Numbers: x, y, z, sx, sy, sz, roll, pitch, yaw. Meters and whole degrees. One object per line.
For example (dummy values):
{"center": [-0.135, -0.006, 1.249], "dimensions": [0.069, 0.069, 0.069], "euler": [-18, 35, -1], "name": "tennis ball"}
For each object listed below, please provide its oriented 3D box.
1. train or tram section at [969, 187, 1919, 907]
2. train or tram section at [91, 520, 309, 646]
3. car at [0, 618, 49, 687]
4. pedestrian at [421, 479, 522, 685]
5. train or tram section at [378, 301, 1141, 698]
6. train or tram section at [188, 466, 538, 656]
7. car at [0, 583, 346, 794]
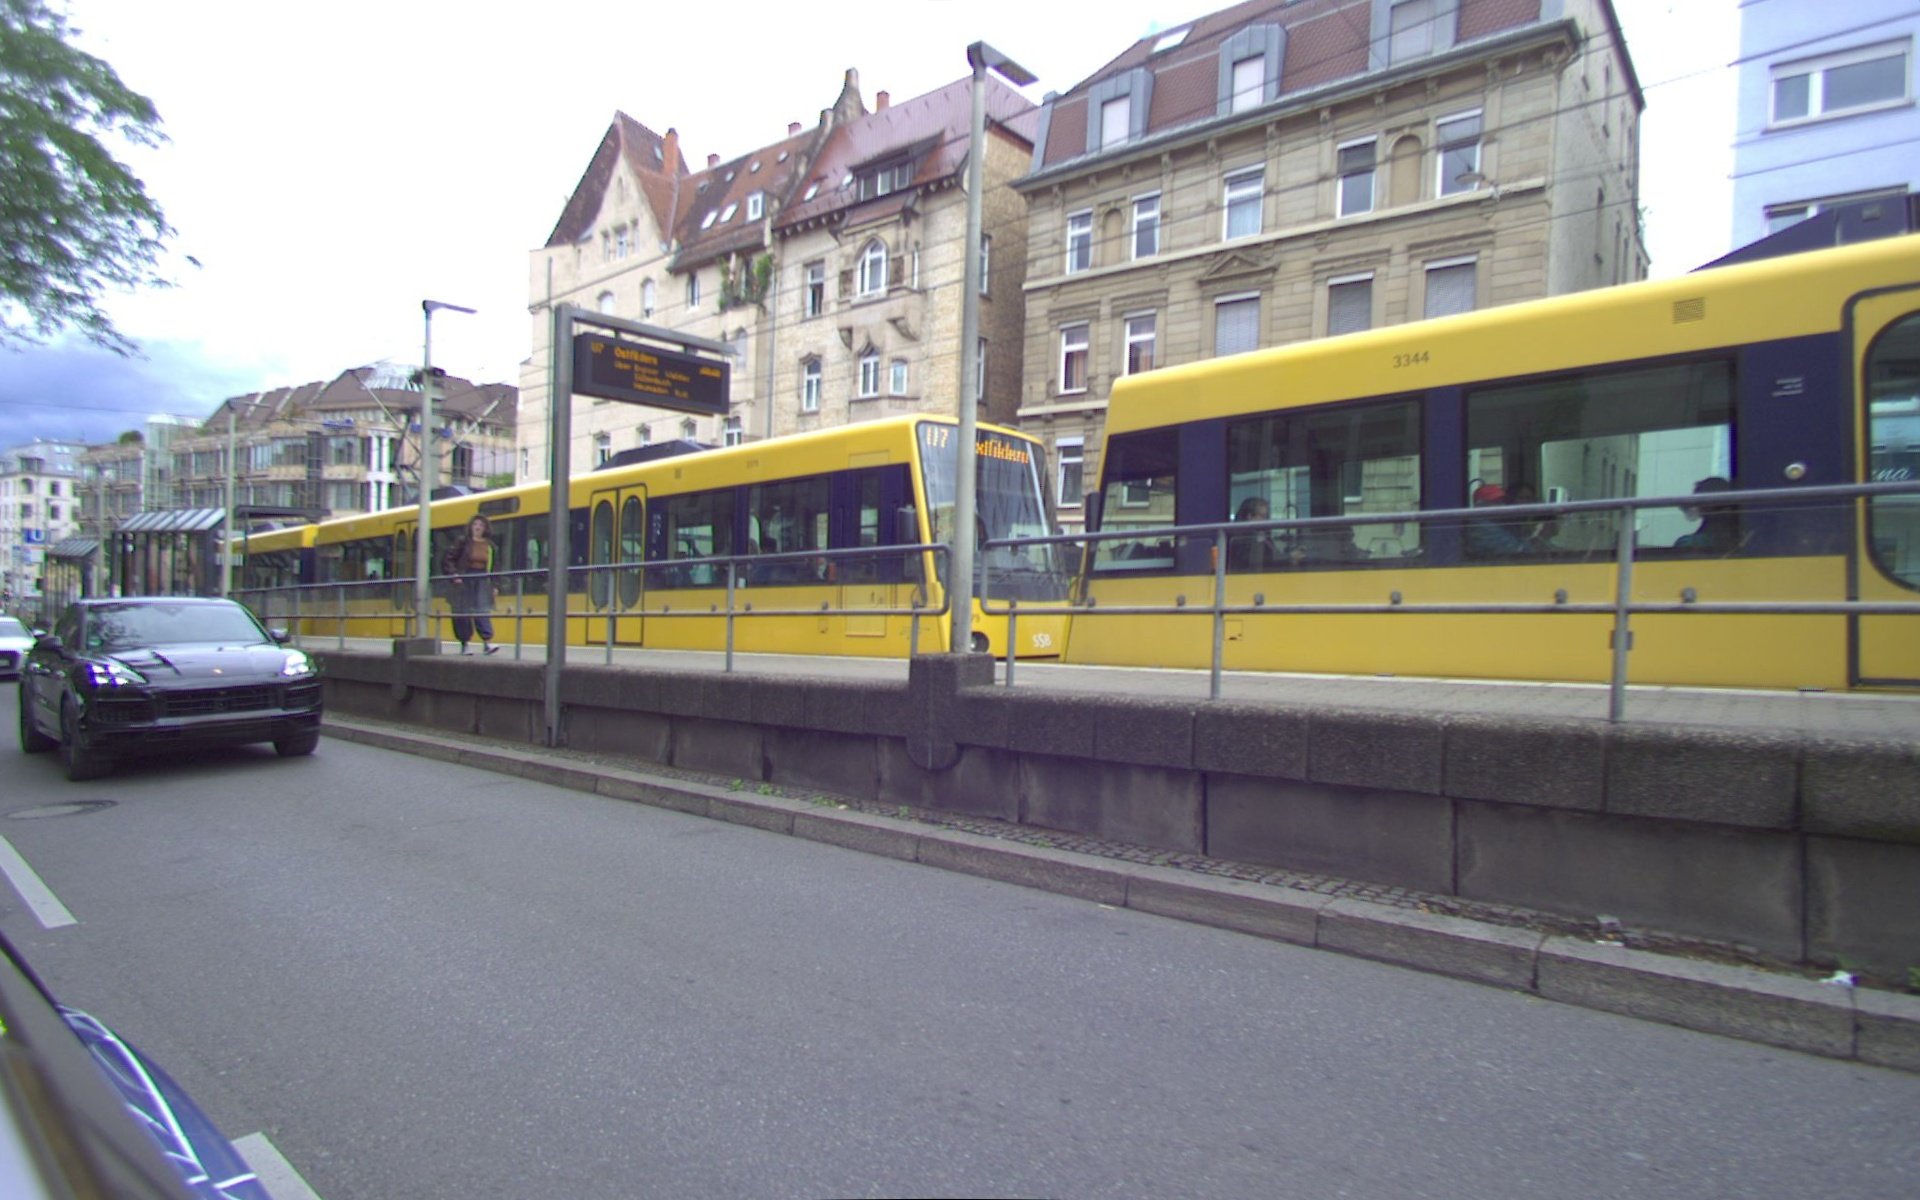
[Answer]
{"center": [6.420, -0.249, 5.766], "dimensions": [14.217, 3.692, 2.852], "euler": [-3, -5, 40], "name": "train or tram section"}
{"center": [-25.617, -0.396, 33.584], "dimensions": [14.223, 3.444, 2.852], "euler": [-1, 1, 41], "name": "train or tram section"}
{"center": [-22.568, 1.175, 23.291], "dimensions": [4.529, 1.486, 1.872], "euler": [-1, -1, 41], "name": "car"}
{"center": [-5.729, -0.197, 11.874], "dimensions": [0.772, 2.302, 0.827], "euler": [-1, -2, 41], "name": "pedestrian"}
{"center": [-4.302, -0.834, 14.920], "dimensions": [14.223, 3.585, 2.892], "euler": [-1, 1, 41], "name": "train or tram section"}
{"center": [-14.943, -0.644, 24.276], "dimensions": [14.223, 3.467, 2.852], "euler": [-1, 1, 41], "name": "train or tram section"}
{"center": [-8.326, 0.747, 10.518], "dimensions": [4.779, 1.697, 2.006], "euler": [-1, -1, 41], "name": "car"}
